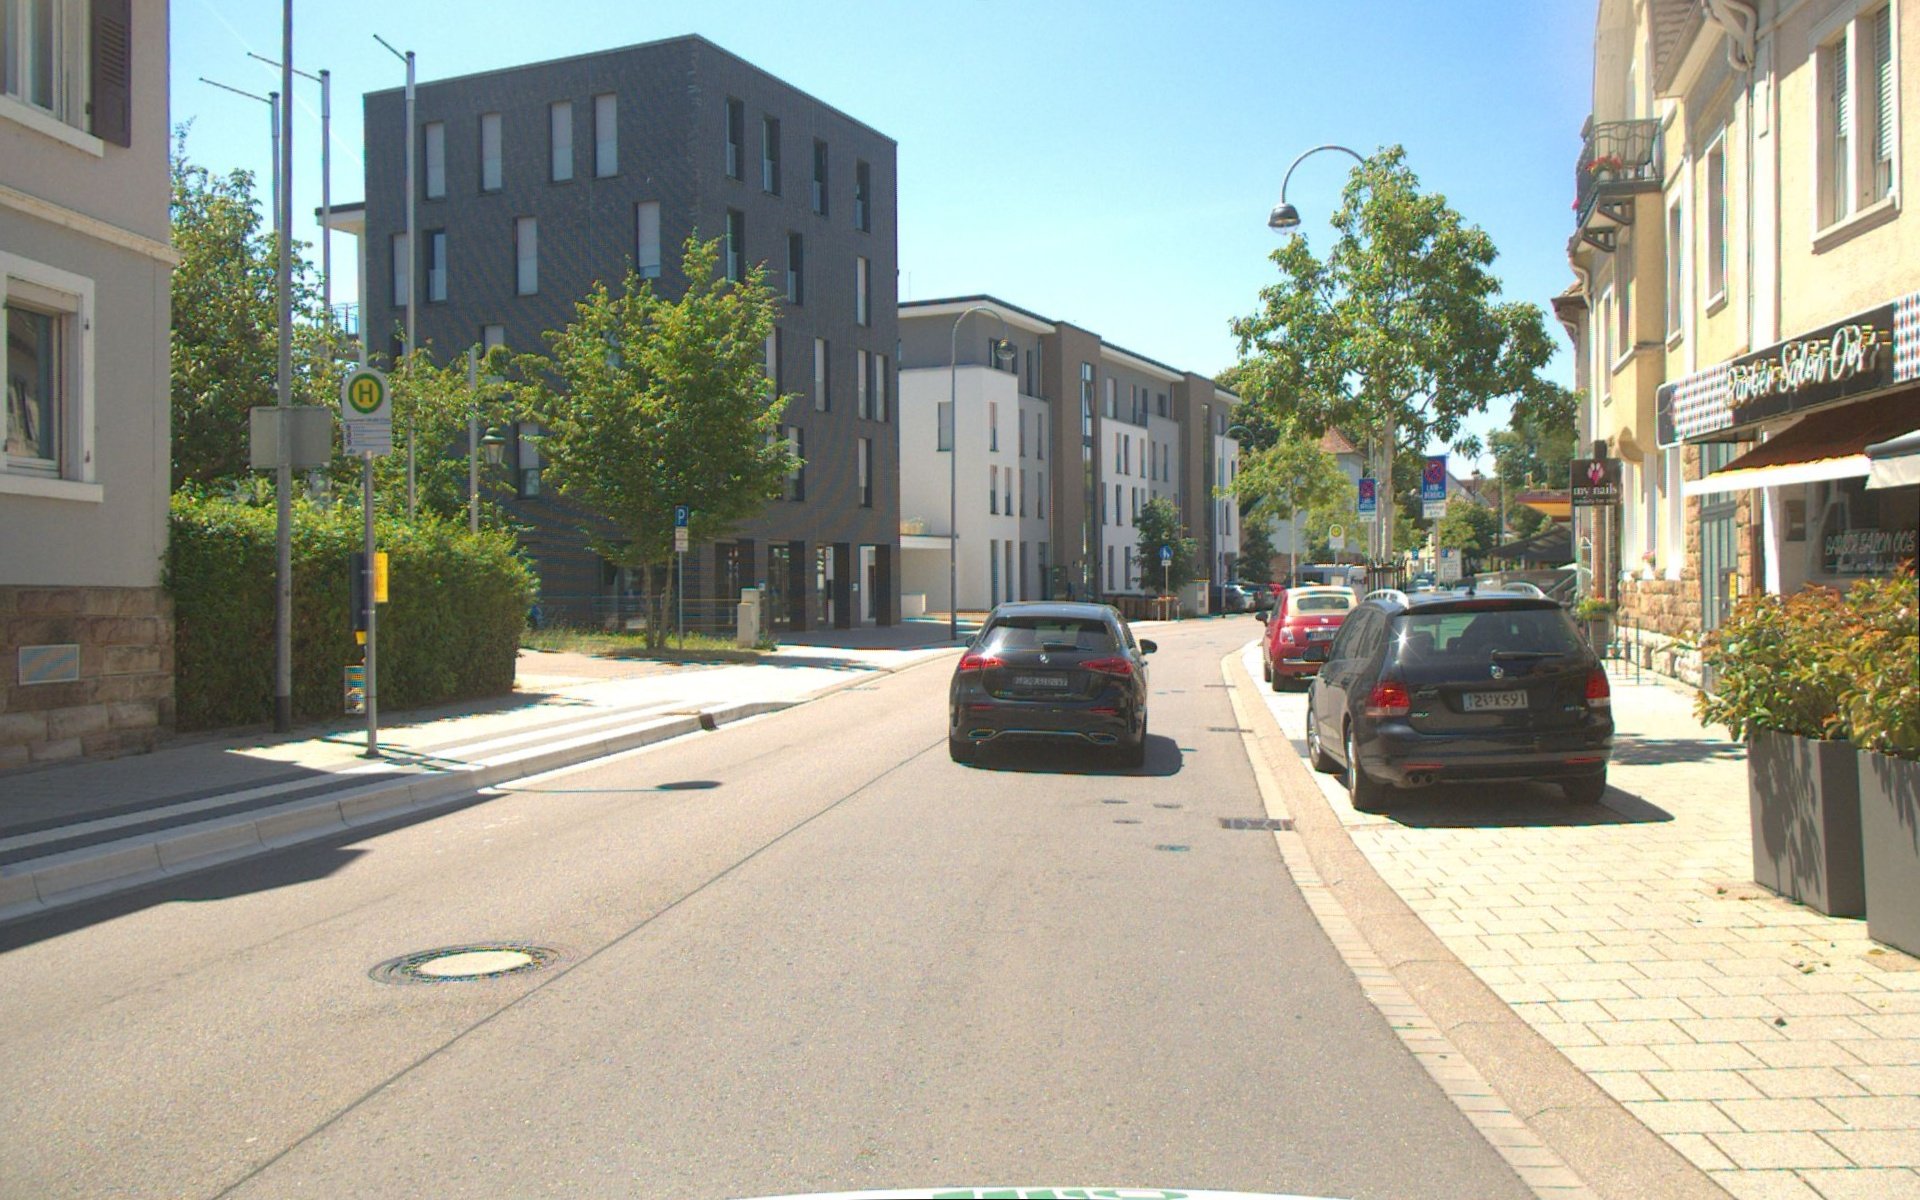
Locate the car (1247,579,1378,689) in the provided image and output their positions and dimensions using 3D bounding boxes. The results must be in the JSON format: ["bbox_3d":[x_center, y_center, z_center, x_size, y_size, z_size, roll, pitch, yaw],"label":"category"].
[{"bbox_3d":[5.411,0.489,25.730,1.571,1.557,3.494,-2,0,6],"label":"car"}]

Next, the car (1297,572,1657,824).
[{"bbox_3d":[3.666,0.620,12.440,1.713,1.512,4.002,-3,0,5],"label":"car"}]

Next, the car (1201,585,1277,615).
[{"bbox_3d":[15.996,0.014,94.905,3.909,1.691,1.998,0,0,27],"label":"car"}]

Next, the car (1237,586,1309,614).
[{"bbox_3d":[19.093,0.003,100.900,3.909,1.691,1.998,0,0,27],"label":"car"}]

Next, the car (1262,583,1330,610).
[{"bbox_3d":[21.553,-0.221,106.045,3.909,1.691,1.998,0,0,27],"label":"car"}]

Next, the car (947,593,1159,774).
[{"bbox_3d":[1.048,0.697,16.270,1.725,1.483,4.442,1,0,7],"label":"car"}]

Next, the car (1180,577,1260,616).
[{"bbox_3d":[14.179,-0.197,90.294,3.910,2.049,1.997,0,0,28],"label":"car"}]

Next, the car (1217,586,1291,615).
[{"bbox_3d":[17.324,0.004,97.445,3.909,1.691,1.998,0,0,27],"label":"car"}]

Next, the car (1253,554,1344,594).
[{"bbox_3d":[22.771,-1.758,111.189,5.534,2.624,2.512,0,0,28],"label":"car"}]

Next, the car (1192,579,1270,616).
[{"bbox_3d":[15.149,-0.146,92.470,3.910,2.049,1.997,0,0,28],"label":"car"}]

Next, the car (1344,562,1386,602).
[{"bbox_3d":[21.491,-0.930,87.672,1.951,2.049,4.003,0,0,16],"label":"car"}]

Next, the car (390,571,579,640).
[{"bbox_3d":[-11.627,0.118,40.646,1.962,1.596,4.149,0,0,38],"label":"car"}]

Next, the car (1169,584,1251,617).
[{"bbox_3d":[13.285,0.003,87.956,3.909,1.691,1.998,0,0,27],"label":"car"}]
